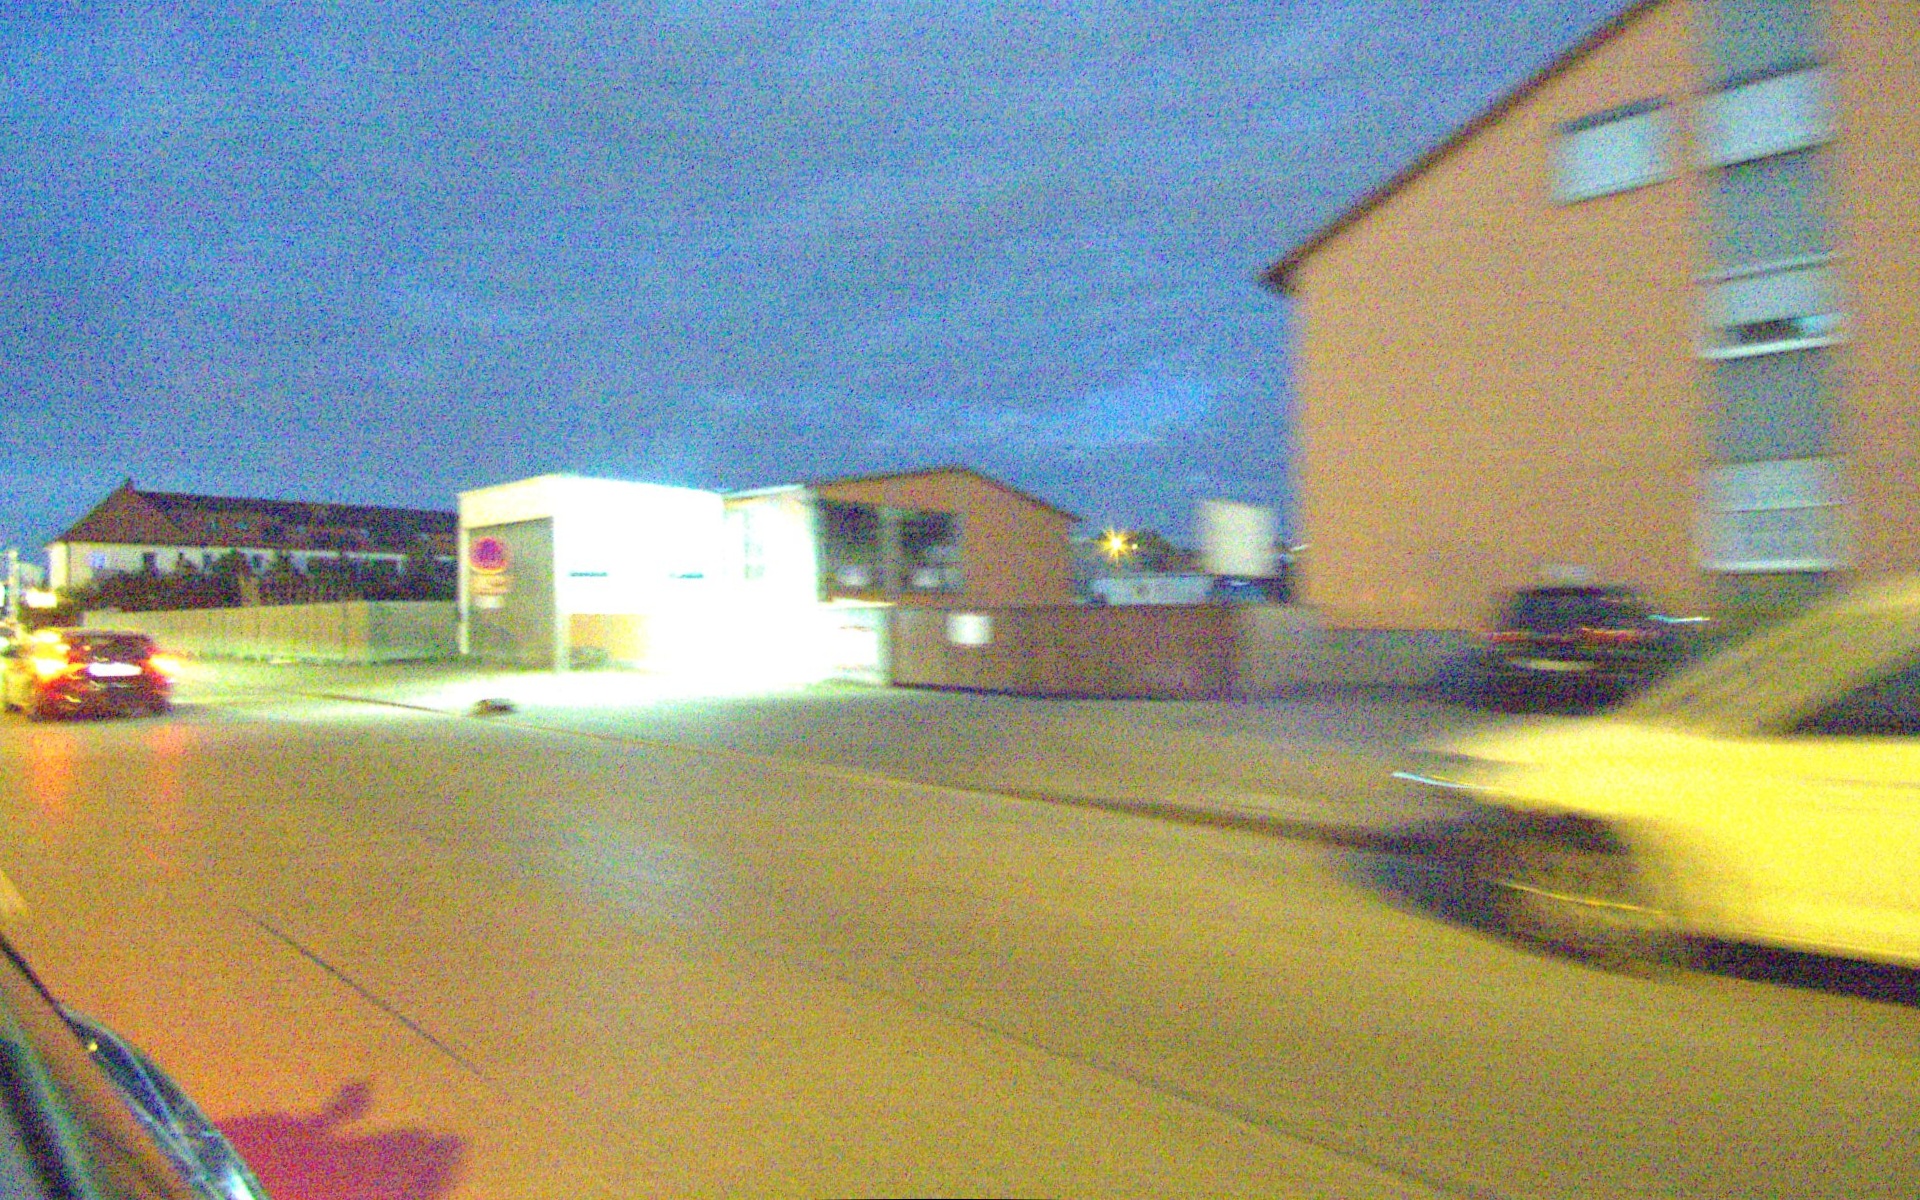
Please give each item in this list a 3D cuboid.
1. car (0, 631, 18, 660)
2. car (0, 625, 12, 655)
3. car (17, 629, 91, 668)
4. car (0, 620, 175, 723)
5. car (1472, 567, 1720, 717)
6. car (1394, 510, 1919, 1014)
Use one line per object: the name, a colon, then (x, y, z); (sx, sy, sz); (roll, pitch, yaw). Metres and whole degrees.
car: (-49.248, 2.300, 51.449); (3.878, 1.375, 1.668); (-1, 0, 42)
car: (-53.402, 2.217, 55.609); (3.780, 1.612, 1.570); (-1, 0, 42)
car: (-35.085, 1.846, 39.164); (4.308, 1.401, 1.737); (-2, -2, 43)
car: (-14.476, 1.087, 16.594); (4.397, 1.448, 1.801); (-2, -2, 42)
car: (8.554, 0.500, 13.442); (1.923, 1.666, 4.351); (-2, -2, 44)
car: (4.502, 0.575, 3.896); (4.877, 1.812, 1.785); (-2, -2, 42)
